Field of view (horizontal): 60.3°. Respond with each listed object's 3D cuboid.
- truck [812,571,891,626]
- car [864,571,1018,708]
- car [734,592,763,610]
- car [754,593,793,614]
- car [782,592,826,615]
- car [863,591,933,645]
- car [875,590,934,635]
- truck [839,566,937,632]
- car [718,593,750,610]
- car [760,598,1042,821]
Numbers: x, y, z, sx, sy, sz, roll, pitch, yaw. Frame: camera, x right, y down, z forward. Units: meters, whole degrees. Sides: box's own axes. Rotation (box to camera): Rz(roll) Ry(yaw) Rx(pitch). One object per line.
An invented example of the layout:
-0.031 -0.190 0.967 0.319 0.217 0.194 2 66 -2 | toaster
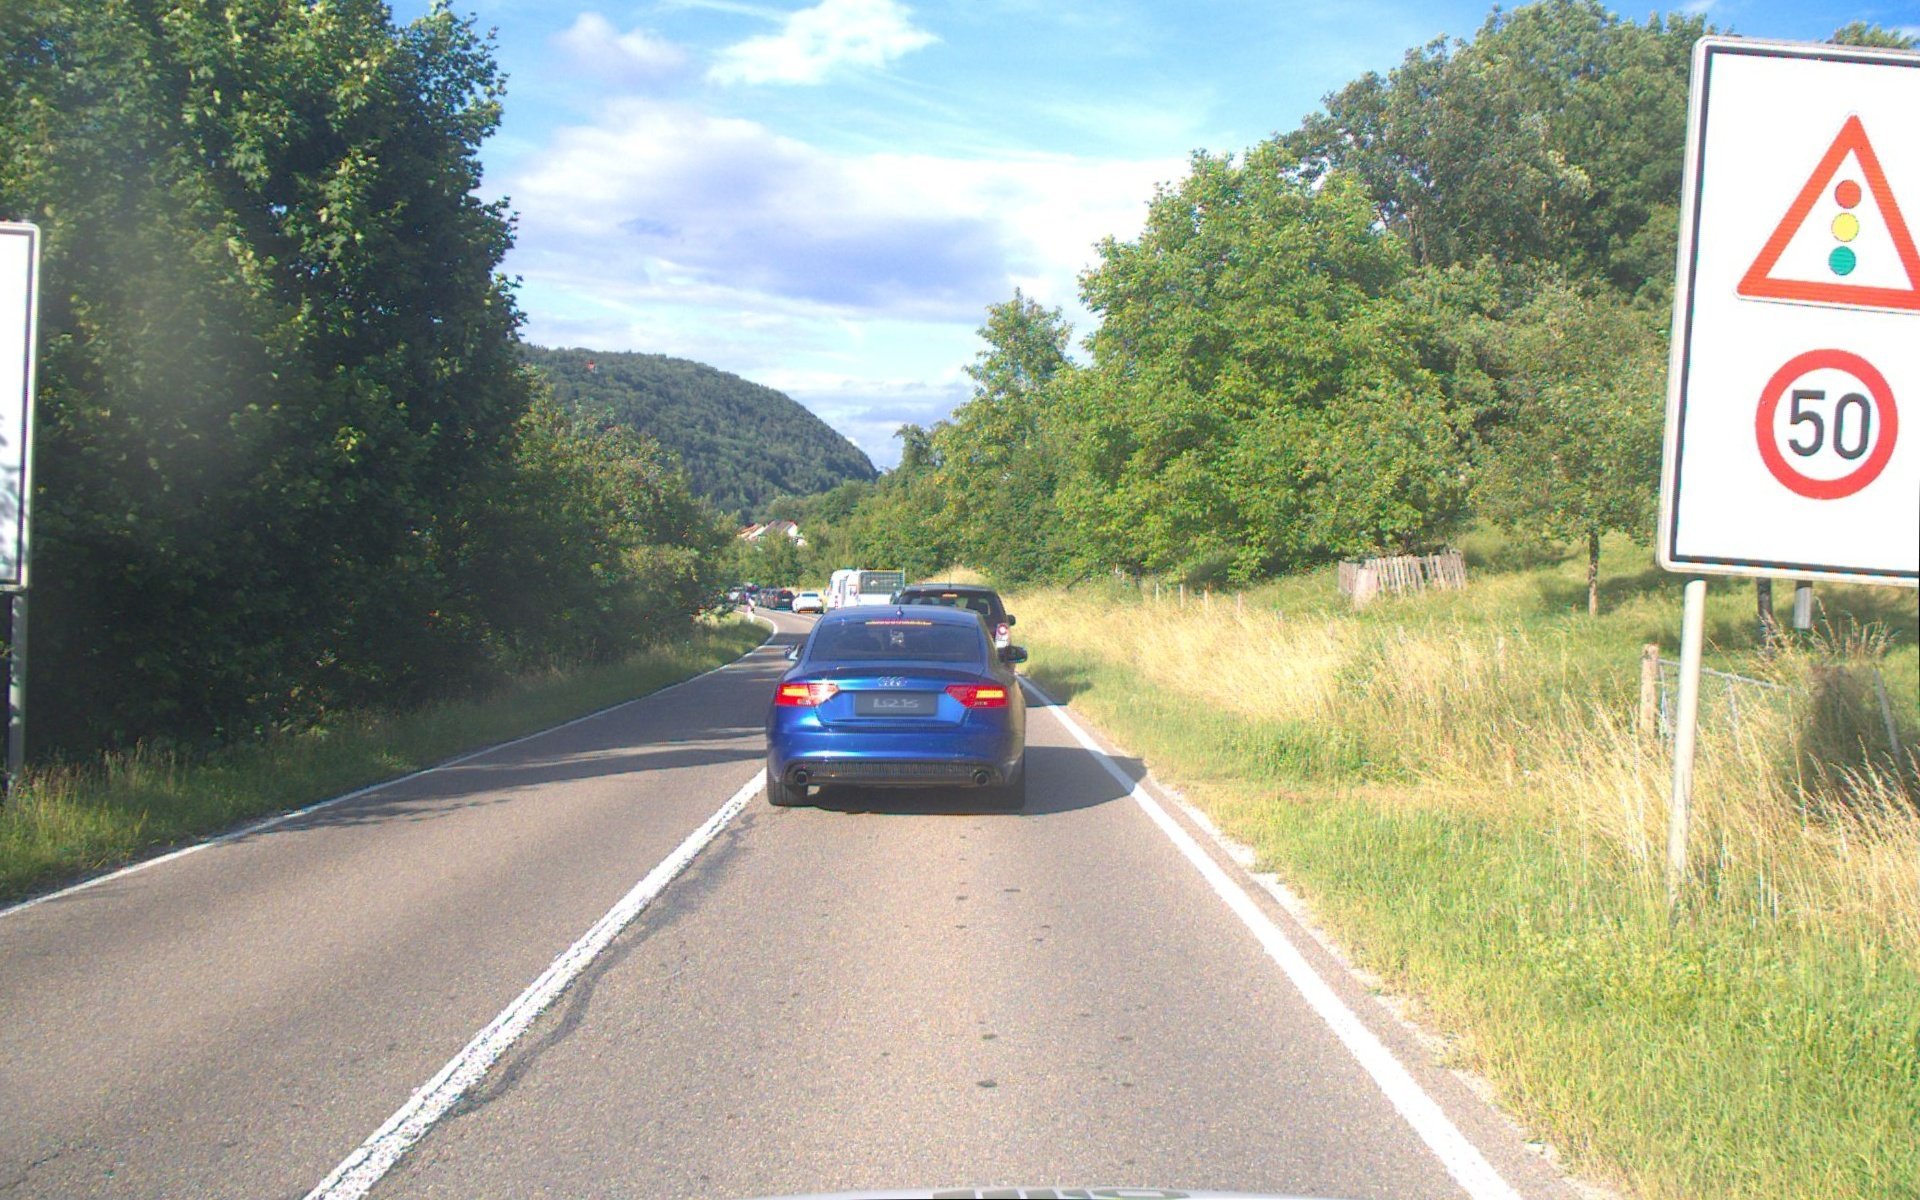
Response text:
-5.886 -0.091 87.683 2.813 2.712 10.615 1 0 -11 | truck
-0.265 0.519 23.239 1.953 1.732 3.999 1 0 -1 | car
-18.736 0.112 146.390 1.962 1.508 3.981 1 0 -17 | car
-13.864 0.269 122.978 1.965 1.508 3.975 1 0 -21 | car
-10.565 0.250 111.681 1.965 1.508 3.975 1 0 -21 | car
-1.777 0.522 48.737 1.953 1.508 3.999 1 0 -1 | car
-1.930 0.446 58.493 1.953 1.508 3.999 1 0 -1 | car
-3.354 -0.048 73.698 2.813 2.712 10.364 1 0 -11 | truck
-21.180 0.119 154.778 1.966 1.508 3.972 1 0 -23 | car
-0.362 0.704 12.448 1.757 1.383 4.000 1 0 0 | car
